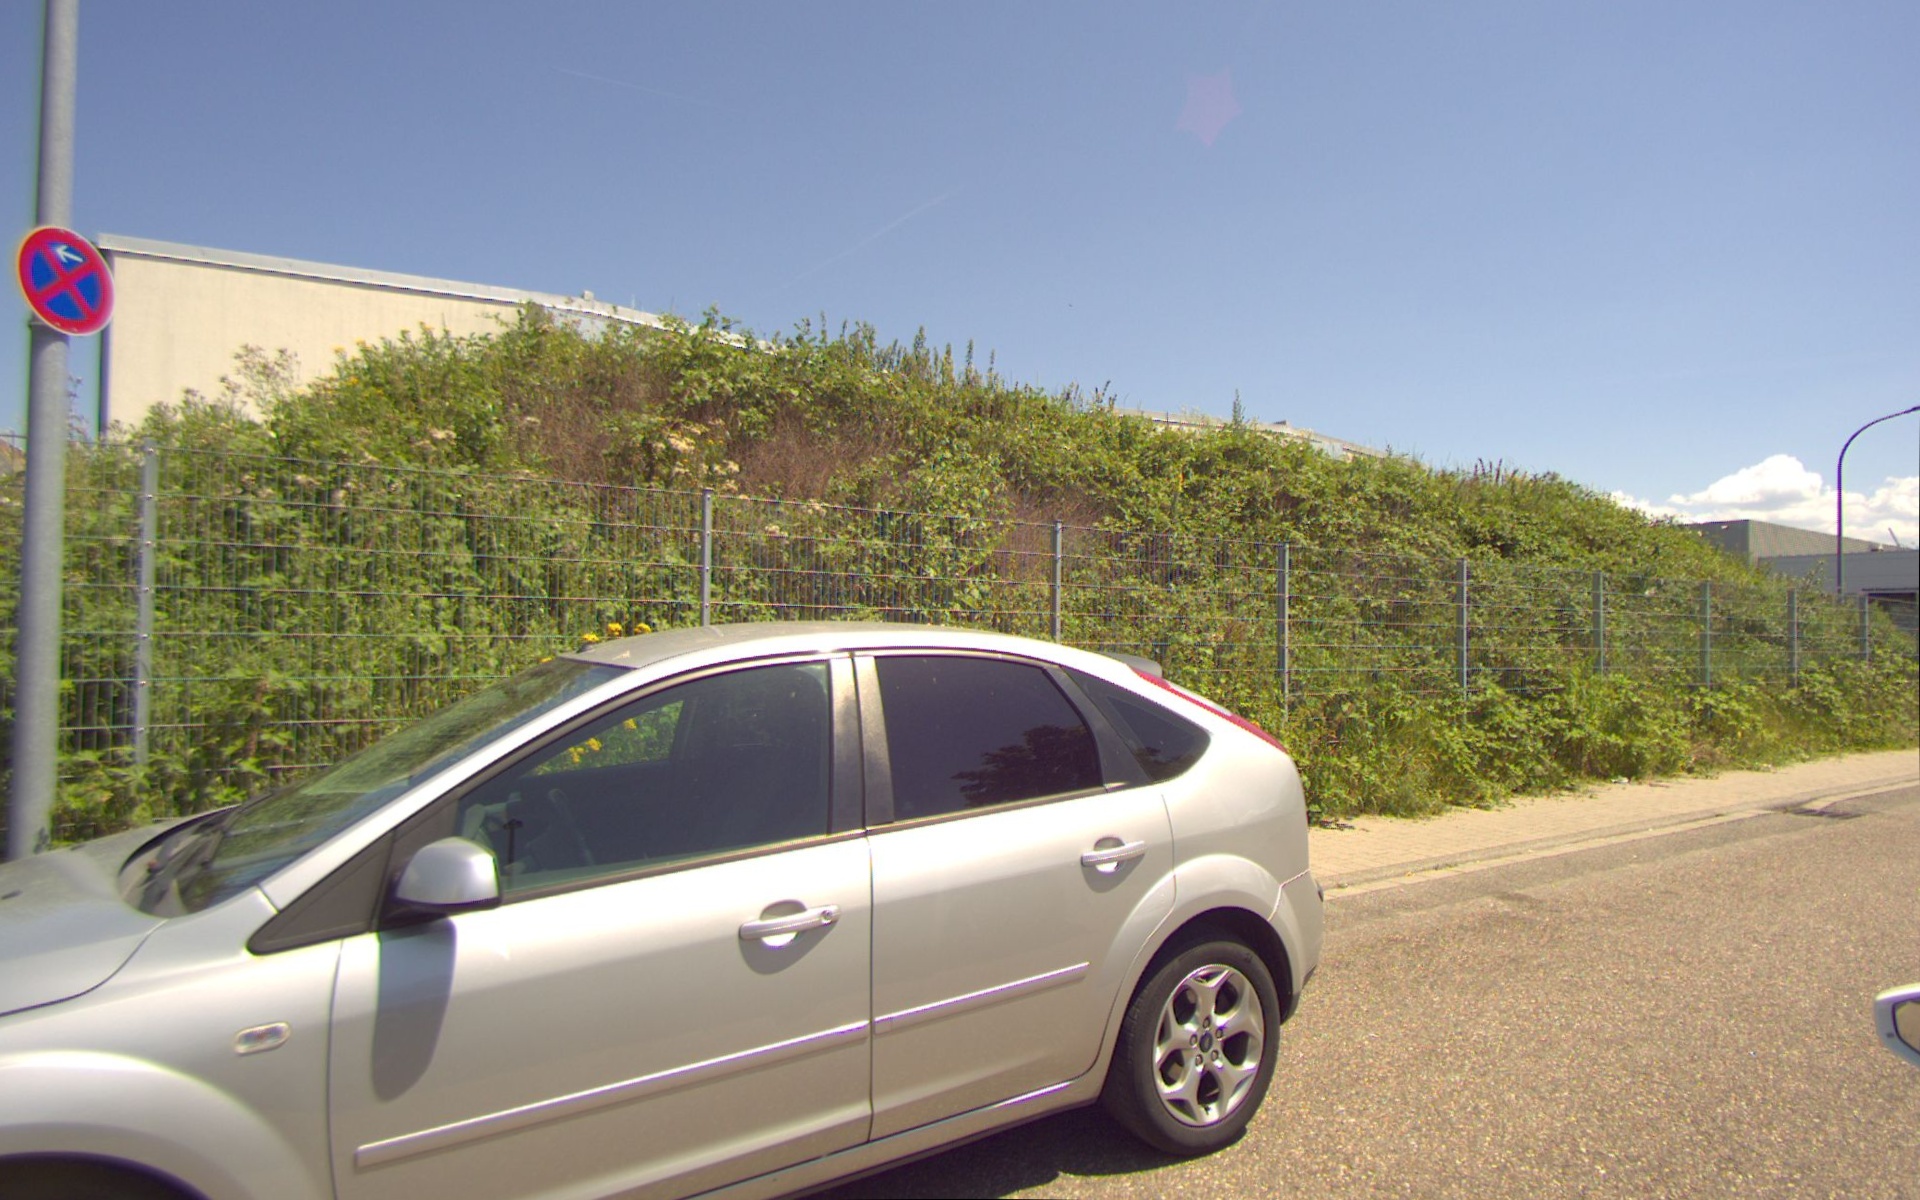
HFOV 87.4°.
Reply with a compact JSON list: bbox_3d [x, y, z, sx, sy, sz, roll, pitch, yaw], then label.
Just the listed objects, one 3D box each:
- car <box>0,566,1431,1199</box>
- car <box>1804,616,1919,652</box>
[{"bbox_3d":[-0.778,0.799,2.941,4.317,1.566,1.825,2,-3,-31],"label":"car"},{"bbox_3d":[44.788,1.698,49.595,1.978,1.647,4.414,4,-3,-32],"label":"car"}]
